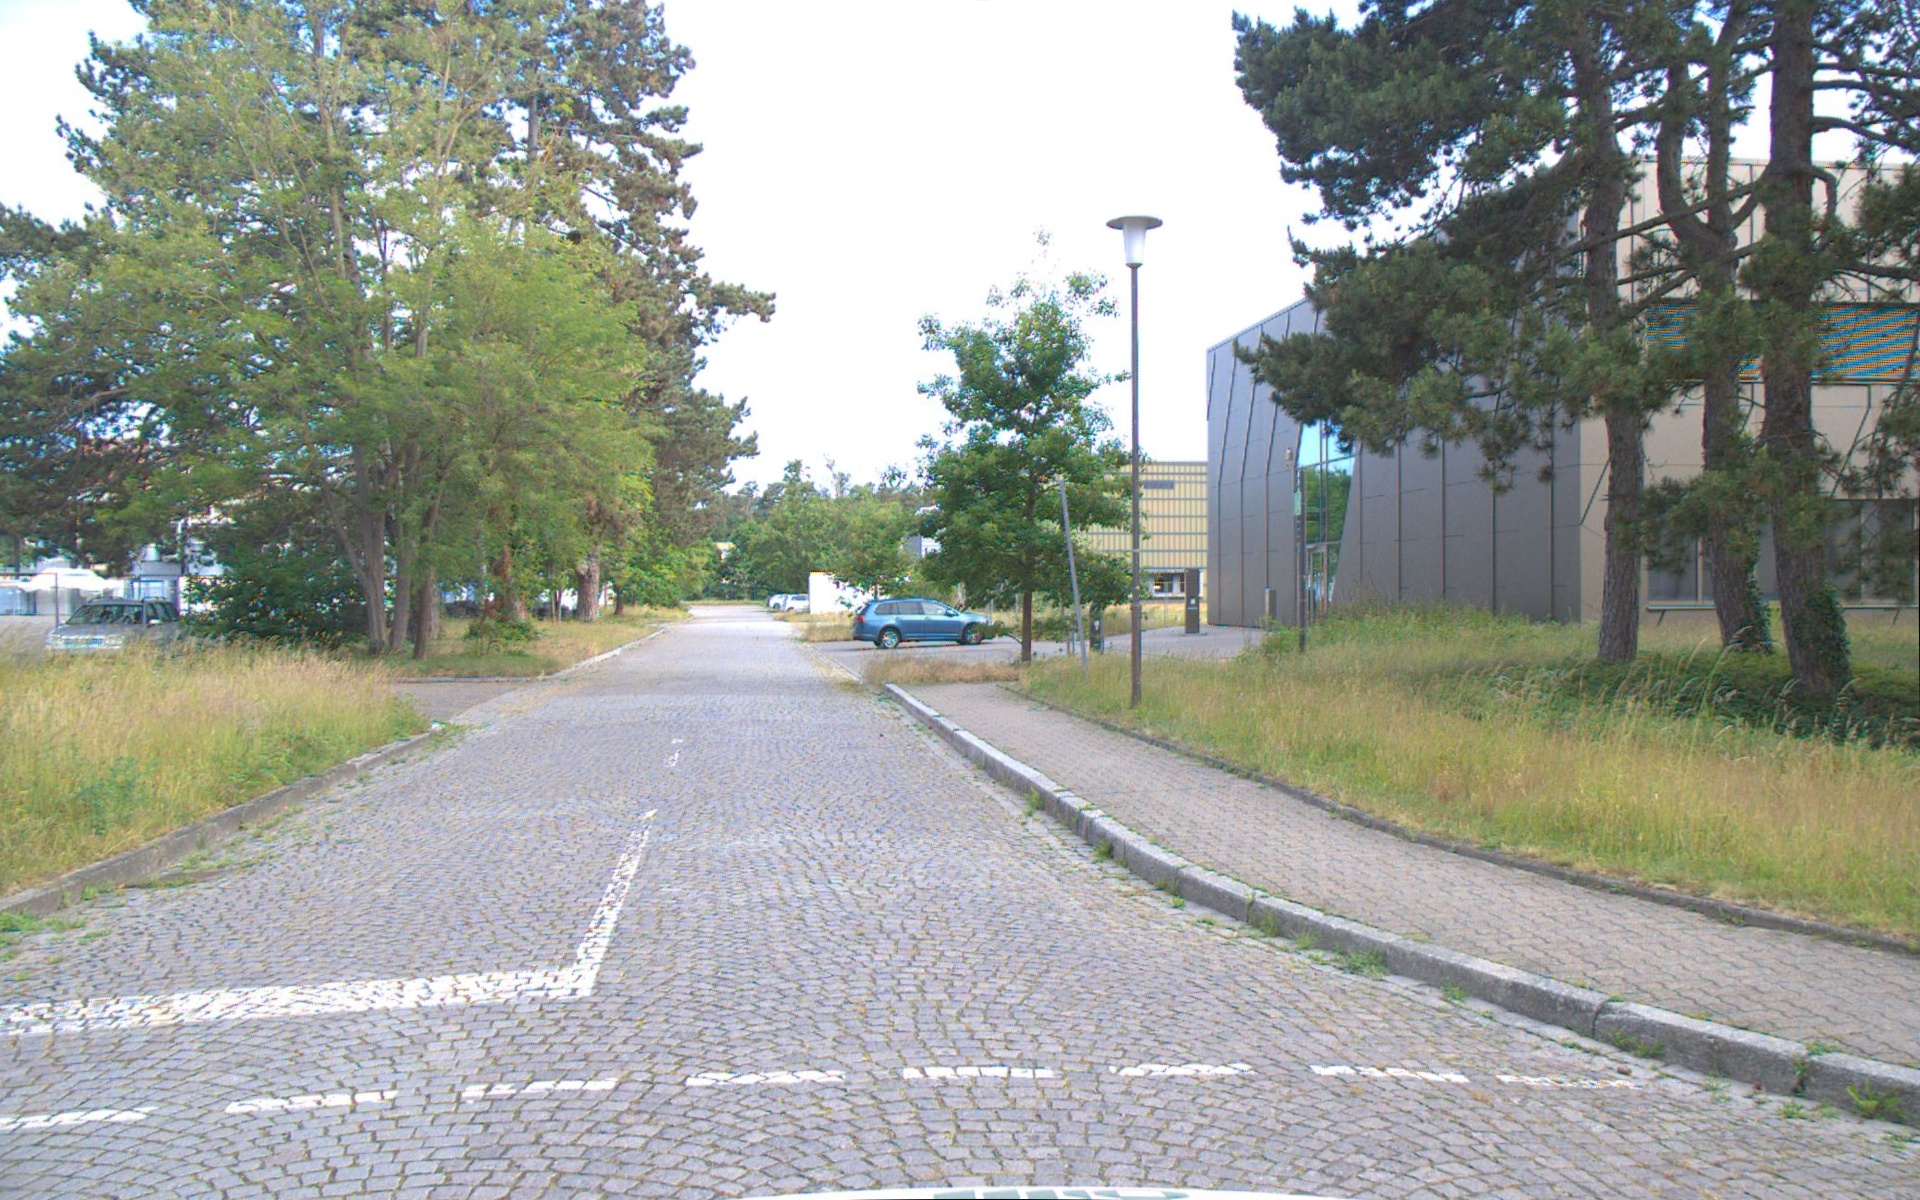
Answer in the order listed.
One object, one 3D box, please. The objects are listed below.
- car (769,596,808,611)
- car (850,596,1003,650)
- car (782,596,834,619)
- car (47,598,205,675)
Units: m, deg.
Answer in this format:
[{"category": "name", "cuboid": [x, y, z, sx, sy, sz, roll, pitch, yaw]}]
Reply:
[{"category": "car", "cuboid": [-17.552, 0.382, 169.401, 3.949, 1.528, 1.546, 0, 0, -7]}, {"category": "car", "cuboid": [-1.062, 0.692, 51.054, 4.442, 1.468, 1.818, -2, 0, -12]}, {"category": "car", "cuboid": [-11.392, 0.540, 123.741, 3.780, 1.683, 1.682, 0, 0, -11]}, {"category": "car", "cuboid": [-17.093, 0.695, 34.110, 1.684, 1.463, 4.456, 0, 0, -10]}]
